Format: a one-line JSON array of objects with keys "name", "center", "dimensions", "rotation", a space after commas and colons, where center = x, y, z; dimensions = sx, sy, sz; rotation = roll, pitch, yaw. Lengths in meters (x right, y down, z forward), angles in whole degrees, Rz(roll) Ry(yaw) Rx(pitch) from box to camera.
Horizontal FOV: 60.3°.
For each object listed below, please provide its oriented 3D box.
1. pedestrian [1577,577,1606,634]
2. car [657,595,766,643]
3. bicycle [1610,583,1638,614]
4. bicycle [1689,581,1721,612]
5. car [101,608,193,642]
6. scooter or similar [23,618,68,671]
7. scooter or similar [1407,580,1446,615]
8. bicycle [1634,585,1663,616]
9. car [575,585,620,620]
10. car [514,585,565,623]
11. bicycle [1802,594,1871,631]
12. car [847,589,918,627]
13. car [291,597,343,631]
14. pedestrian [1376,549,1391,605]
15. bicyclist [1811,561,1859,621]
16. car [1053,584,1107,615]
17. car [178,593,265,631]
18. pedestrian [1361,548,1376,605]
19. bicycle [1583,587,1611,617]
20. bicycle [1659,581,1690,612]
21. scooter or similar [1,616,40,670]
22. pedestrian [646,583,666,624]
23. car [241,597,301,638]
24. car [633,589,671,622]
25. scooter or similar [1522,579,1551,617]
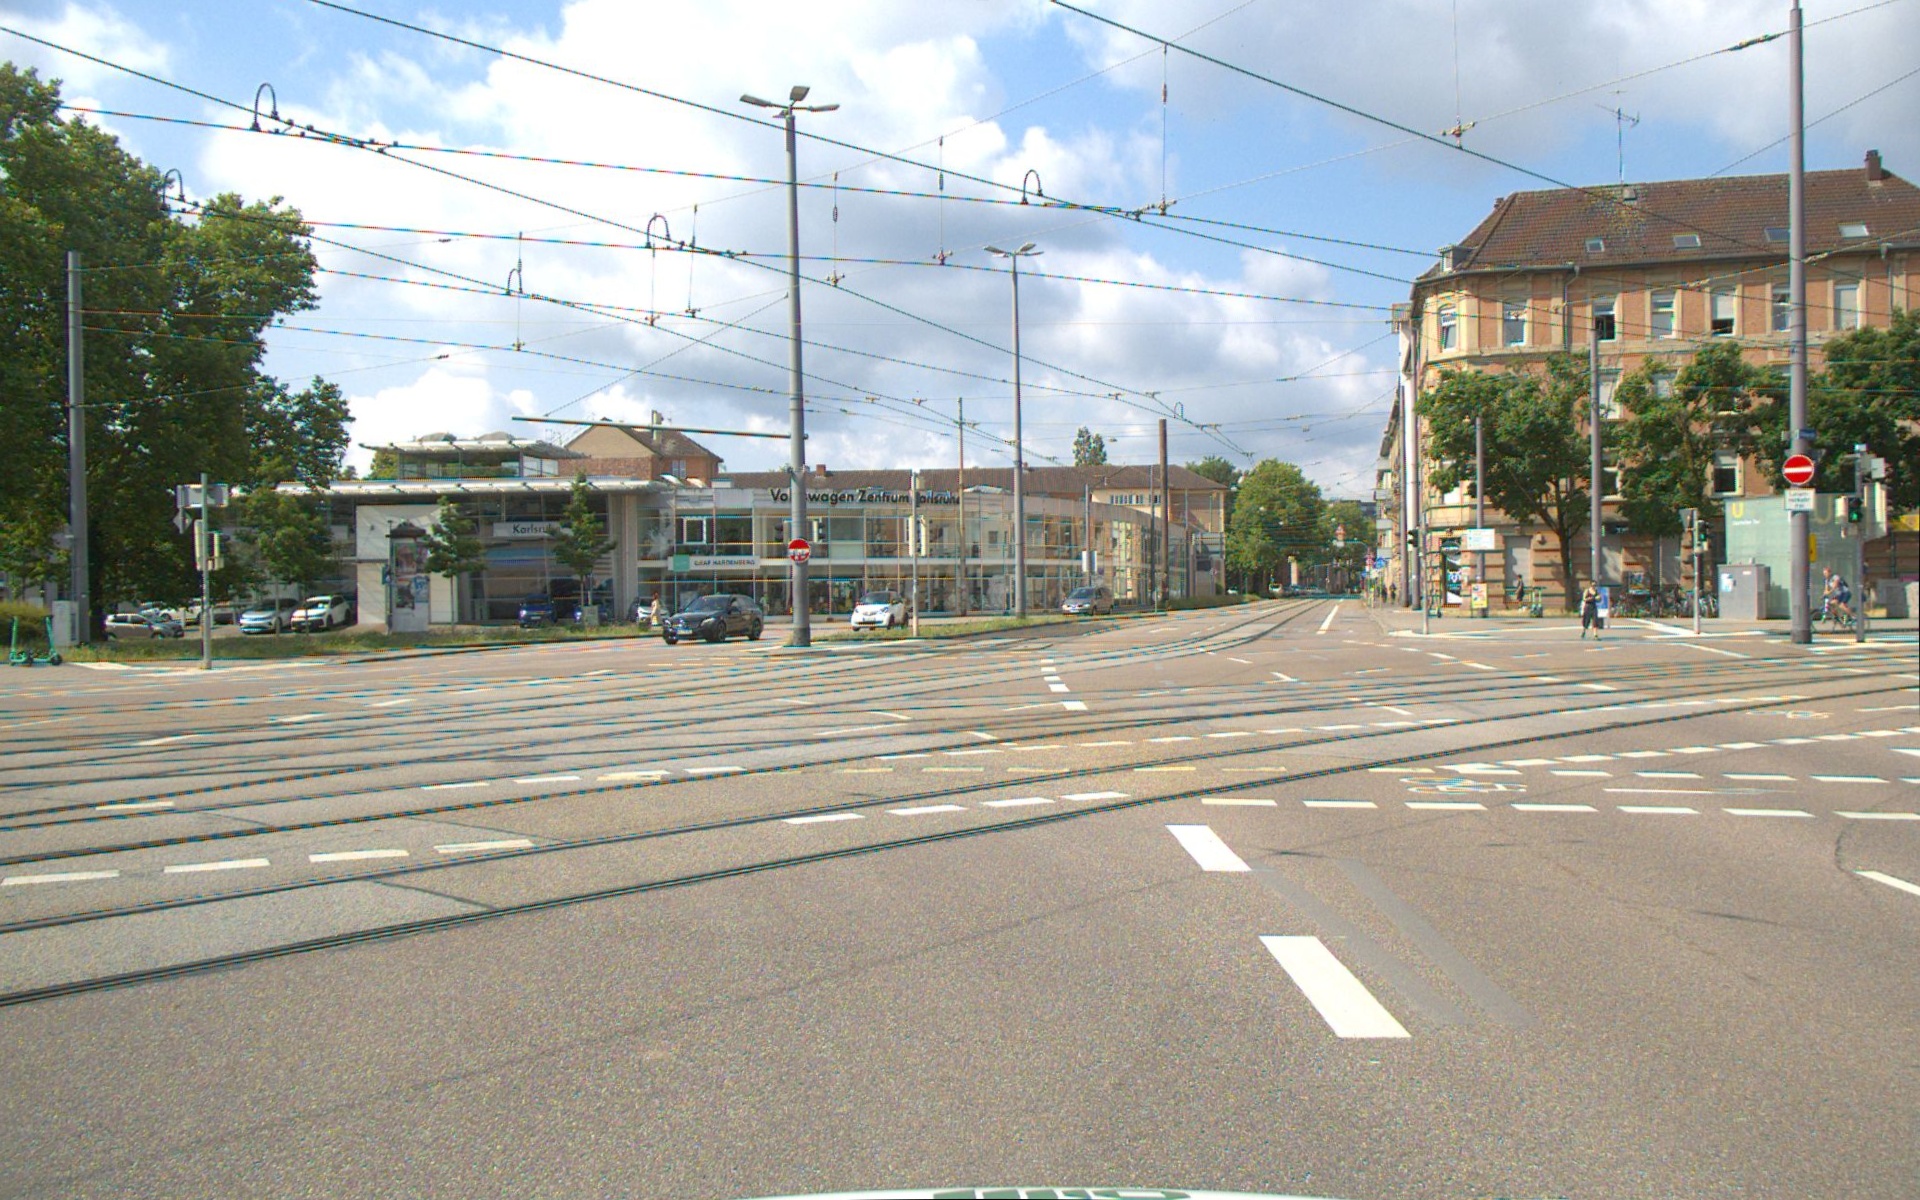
[{"name": "pedestrian", "center": [17.441, 0.146, 45.703], "dimensions": [0.725, 1.542, 0.545], "rotation": [-1, 0, 22]}, {"name": "car", "center": [-7.624, 0.554, 51.106], "dimensions": [1.825, 1.400, 3.943], "rotation": [-1, 0, 17]}, {"name": "bicycle", "center": [26.625, -0.076, 66.334], "dimensions": [0.742, 1.186, 2.687], "rotation": [-1, 0, 15]}, {"name": "bicycle", "center": [29.575, -0.154, 65.703], "dimensions": [0.742, 1.186, 2.687], "rotation": [-1, 0, 15]}, {"name": "car", "center": [-39.594, 1.222, 80.578], "dimensions": [3.595, 1.514, 1.672], "rotation": [1, 0, -2]}, {"name": "scooter or similar", "center": [-21.634, 1.051, 39.117], "dimensions": [1.040, 1.217, 0.381], "rotation": [0, -1, 25]}, {"name": "scooter or similar", "center": [19.318, -0.081, 68.607], "dimensions": [1.151, 1.410, 2.806], "rotation": [1, -1, 7]}, {"name": "bicycle", "center": [27.516, 0.026, 66.153], "dimensions": [0.743, 1.186, 2.686], "rotation": [1, -1, 16]}, {"name": "car", "center": [-18.845, 0.166, 86.116], "dimensions": [1.956, 1.756, 3.993], "rotation": [1, -1, -7]}, {"name": "car", "center": [-21.974, 0.237, 86.537], "dimensions": [1.955, 1.870, 3.995], "rotation": [-2, 0, -6]}, {"name": "bicycle", "center": [25.300, 0.361, 47.740], "dimensions": [1.750, 0.973, 0.840], "rotation": [-2, -1, -24]}, {"name": "car", "center": [-3.110, 0.334, 66.956], "dimensions": [1.650, 1.495, 3.657], "rotation": [1, -1, 19]}, {"name": "car", "center": [-33.719, 0.721, 86.856], "dimensions": [1.753, 1.712, 3.991], "rotation": [-1, 0, -10]}, {"name": "pedestrian", "center": [23.673, -1.288, 92.465], "dimensions": [0.710, 3.130, 0.887], "rotation": [0, -1, 23]}, {"name": "bicyclist", "center": [25.263, -0.263, 47.752], "dimensions": [1.129, 1.704, 0.611], "rotation": [-1, -1, -22]}, {"name": "car", "center": [6.368, -0.046, 87.432], "dimensions": [1.952, 1.601, 3.738], "rotation": [-1, 0, 19]}, {"name": "car", "center": [-41.402, 0.694, 92.765], "dimensions": [3.903, 2.049, 2.001], "rotation": [1, -1, 3]}, {"name": "pedestrian", "center": [22.943, -1.295, 92.822], "dimensions": [0.652, 3.175, 0.887], "rotation": [0, -1, 23]}, {"name": "bicycle", "center": [25.722, 0.070, 66.802], "dimensions": [0.742, 1.186, 2.687], "rotation": [-1, 0, 15]}, {"name": "bicycle", "center": [28.331, -0.142, 65.622], "dimensions": [0.742, 1.186, 2.687], "rotation": [-1, 0, 15]}, {"name": "scooter or similar", "center": [-21.958, 0.999, 38.643], "dimensions": [1.043, 1.217, 0.380], "rotation": [0, -1, 35]}, {"name": "pedestrian", "center": [-15.134, 0.182, 82.445], "dimensions": [0.790, 2.049, 0.808], "rotation": [-1, 0, 2]}, {"name": "car", "center": [-35.957, 0.906, 86.401], "dimensions": [1.957, 2.049, 3.990], "rotation": [2, -1, -10]}, {"name": "car", "center": [-16.377, 0.295, 88.044], "dimensions": [1.893, 1.713, 3.990], "rotation": [1, -1, -11]}, {"name": "scooter or similar", "center": [23.305, -0.092, 66.890], "dimensions": [0.859, 1.508, 2.016], "rotation": [-1, 0, 13]}]
